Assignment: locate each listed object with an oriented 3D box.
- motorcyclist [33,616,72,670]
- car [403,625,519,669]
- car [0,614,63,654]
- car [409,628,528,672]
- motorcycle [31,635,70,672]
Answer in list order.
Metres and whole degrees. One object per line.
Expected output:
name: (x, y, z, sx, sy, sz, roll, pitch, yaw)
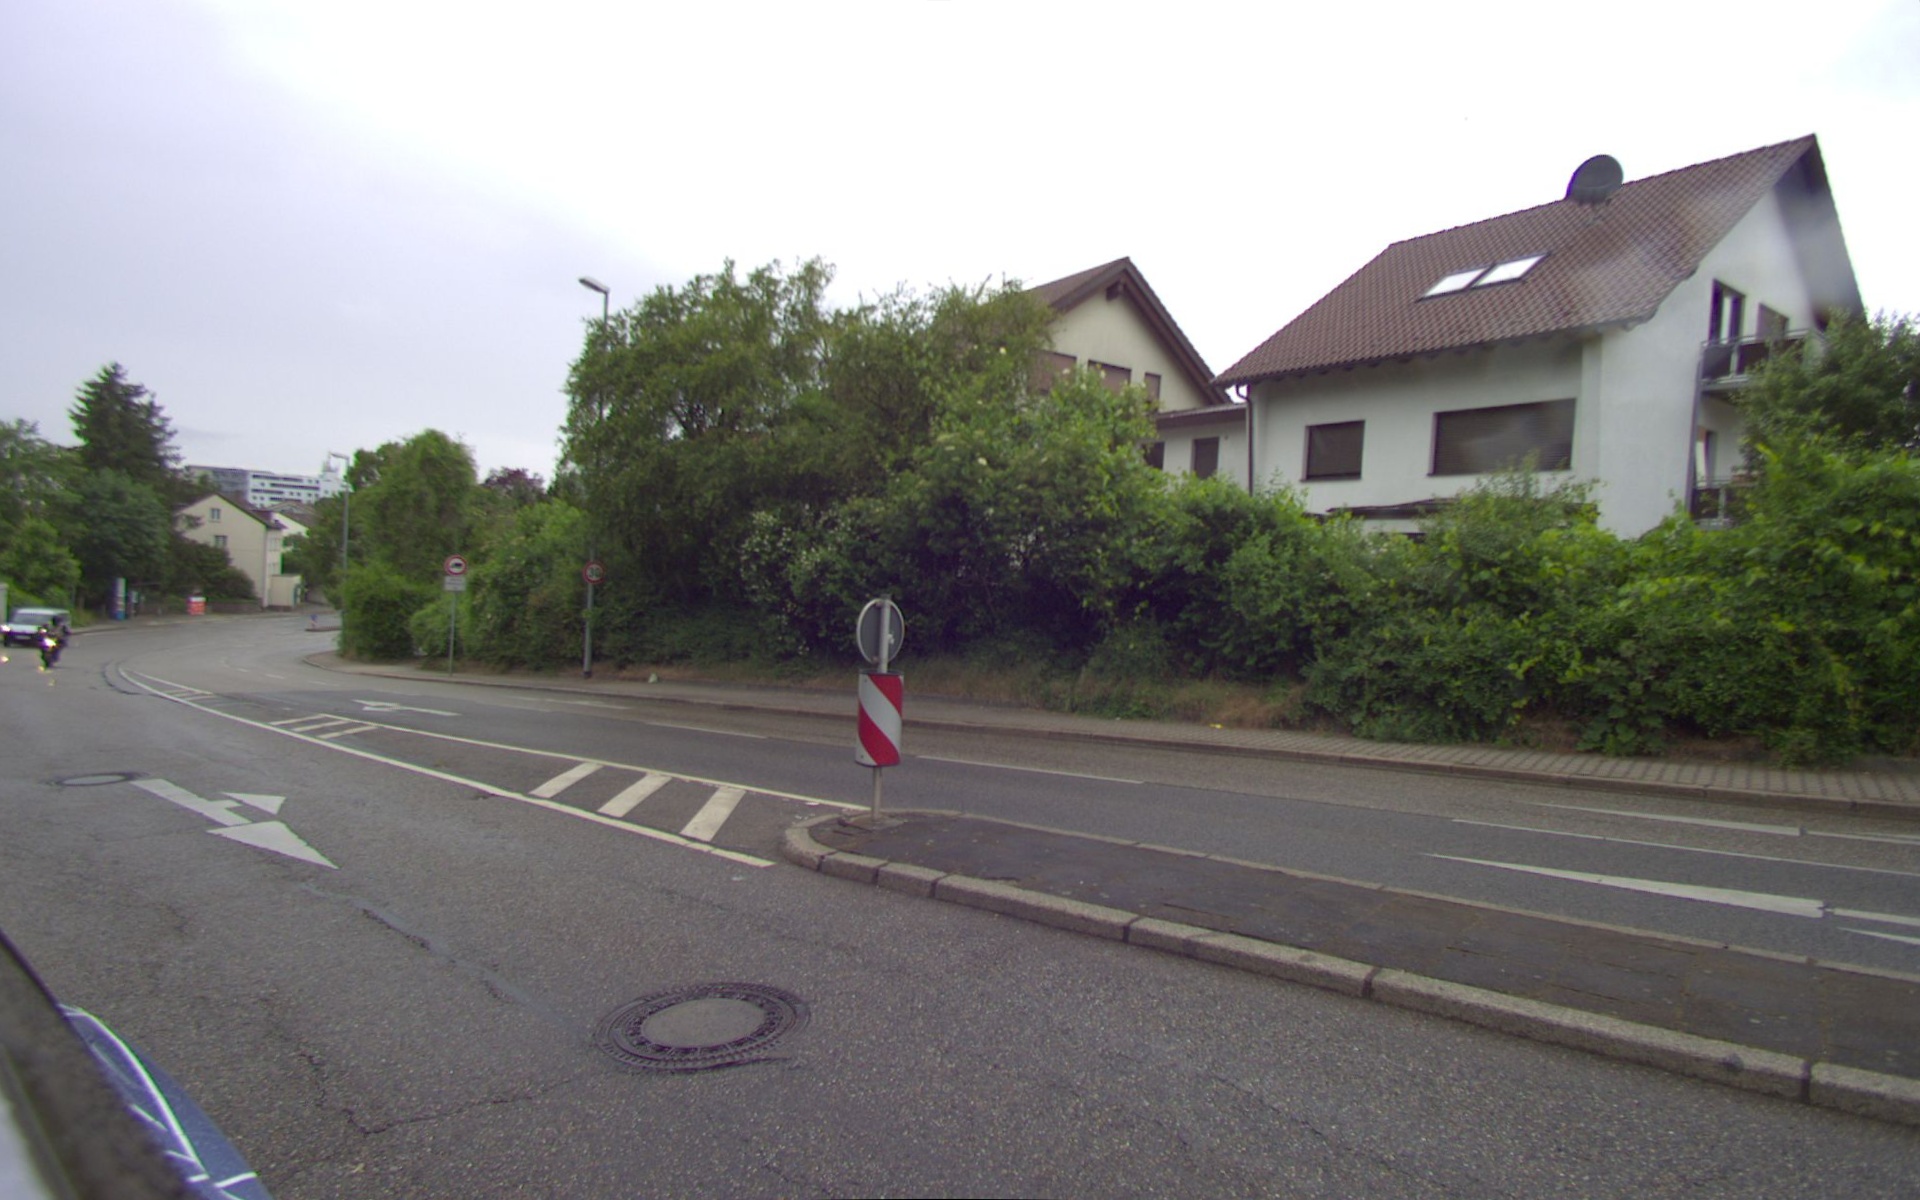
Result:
motorcyclist: (-28.584, 1.359, 31.879, 0.755, 1.655, 0.676, 5, -4, -38)
car: (-20.905, 1.944, 42.477, 3.939, 1.548, 2.003, -3, 1, -42)
car: (-44.916, 1.625, 48.864, 1.749, 1.788, 4.010, 6, -4, -34)
car: (-19.416, 1.945, 40.035, 3.853, 1.451, 1.814, -3, 1, -41)
motorcycle: (-28.547, 1.673, 31.785, 0.682, 1.061, 1.751, 5, -3, -37)
